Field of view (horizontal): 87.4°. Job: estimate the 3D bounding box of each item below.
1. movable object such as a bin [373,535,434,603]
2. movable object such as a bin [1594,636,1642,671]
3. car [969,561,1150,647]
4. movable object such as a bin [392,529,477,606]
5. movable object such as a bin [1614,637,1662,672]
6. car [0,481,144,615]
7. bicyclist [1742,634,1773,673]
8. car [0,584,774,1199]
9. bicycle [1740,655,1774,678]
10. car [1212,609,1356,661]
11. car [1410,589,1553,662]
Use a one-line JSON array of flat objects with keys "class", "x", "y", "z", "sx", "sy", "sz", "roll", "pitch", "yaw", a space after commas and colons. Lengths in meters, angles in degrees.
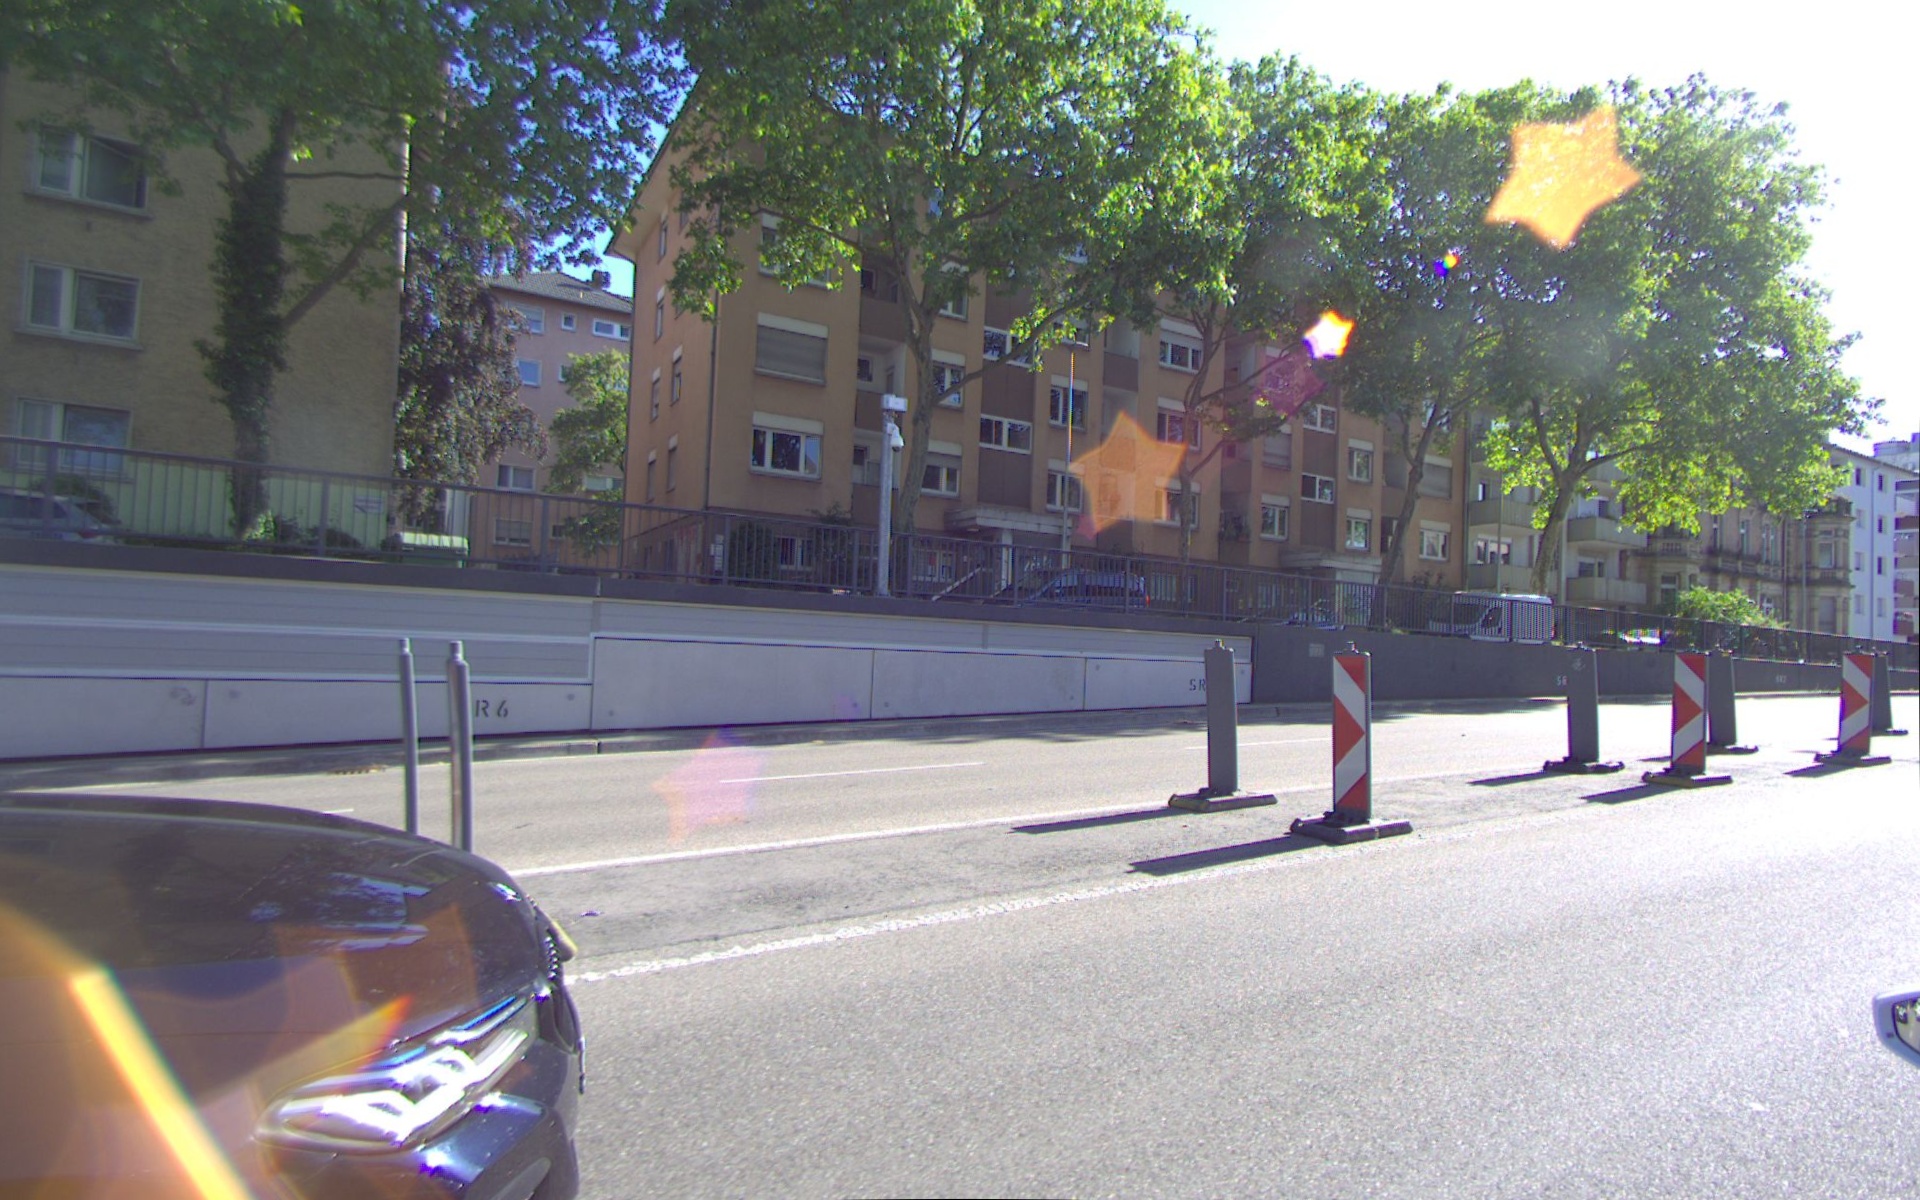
[{"class": "movable object such as a bin", "x": -13.349, "y": -0.726, "z": 24.083, "sx": 1.136, "sy": 1.503, "sz": 1.306, "roll": 3, "pitch": -1, "yaw": -33}, {"class": "movable object such as a bin", "x": 28.625, "y": 2.331, "z": 43.688, "sx": 1.286, "sy": 1.420, "sz": 1.273, "roll": 3, "pitch": -1, "yaw": -30}, {"class": "car", "x": 2.668, "y": 0.140, "z": 26.591, "sx": 4.479, "sy": 1.986, "sz": 1.954, "roll": 3, "pitch": -1, "yaw": -33}, {"class": "movable object such as a bin", "x": -11.105, "y": -0.662, "z": 21.210, "sx": 1.346, "sy": 1.503, "sz": 1.196, "roll": 3, "pitch": -1, "yaw": -38}, {"class": "movable object such as a bin", "x": 29.856, "y": 2.398, "z": 44.258, "sx": 1.309, "sy": 1.420, "sz": 1.273, "roll": 3, "pitch": -1, "yaw": -30}, {"class": "car", "x": -15.770, "y": -0.867, "z": 15.682, "sx": 4.363, "sy": 1.986, "sz": 1.956, "roll": 3, "pitch": -1, "yaw": -31}, {"class": "bicyclist", "x": 34.876, "y": 2.341, "z": 43.930, "sx": 1.012, "sy": 1.654, "sz": 0.770, "roll": 3, "pitch": -1, "yaw": -34}, {"class": "car", "x": -2.891, "y": 0.683, "z": 1.203, "sx": 4.945, "sy": 1.458, "sz": 1.799, "roll": 1, "pitch": 0, "yaw": -31}, {"class": "bicycle", "x": 34.814, "y": 2.898, "z": 43.892, "sx": 1.740, "sy": 0.939, "sz": 0.652, "roll": 3, "pitch": -1, "yaw": -34}, {"class": "car", "x": 10.026, "y": 1.081, "z": 31.063, "sx": 4.124, "sy": 1.407, "sz": 1.984, "roll": 3, "pitch": -1, "yaw": -31}, {"class": "car", "x": 18.900, "y": 0.930, "z": 36.340, "sx": 5.355, "sy": 2.390, "sz": 1.984, "roll": 3, "pitch": -1, "yaw": -30}]
